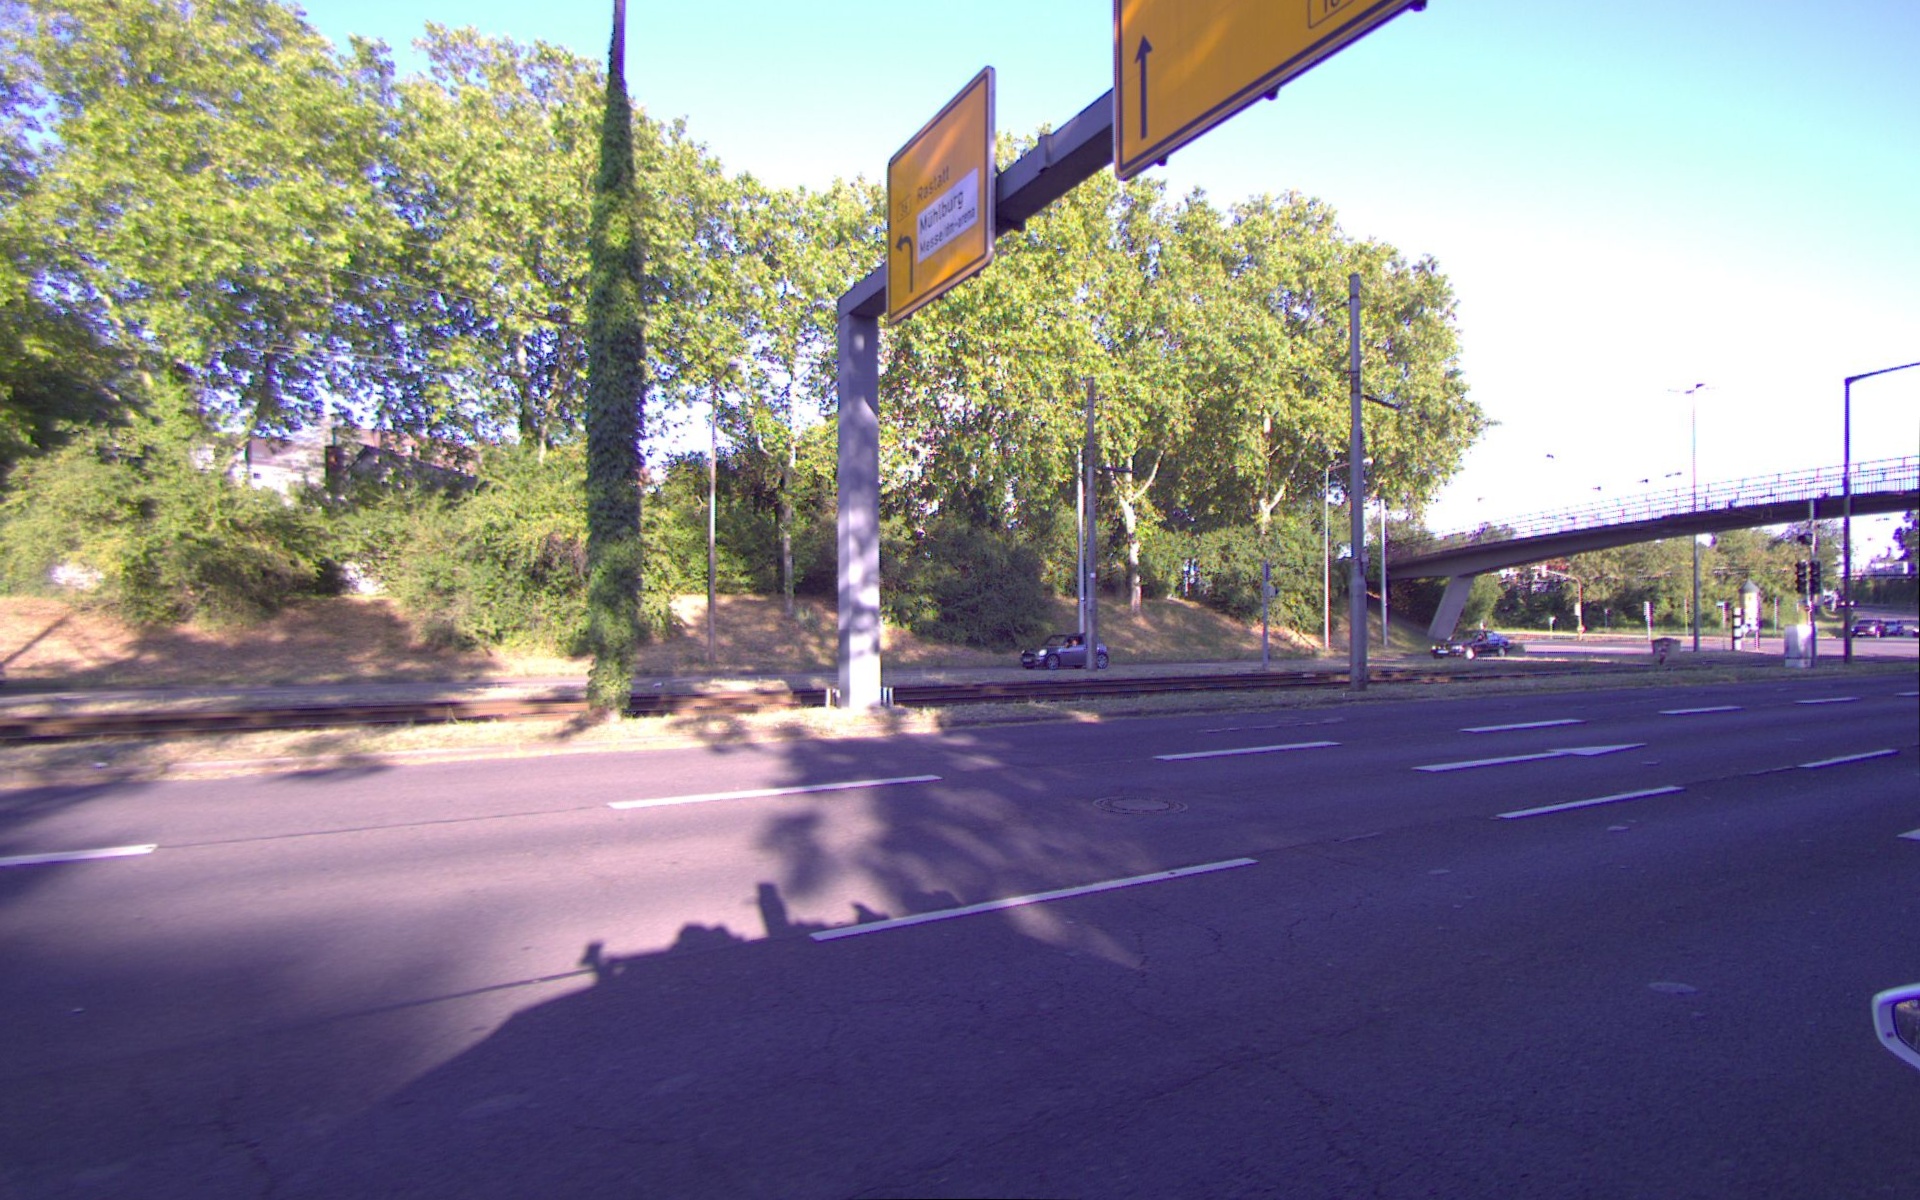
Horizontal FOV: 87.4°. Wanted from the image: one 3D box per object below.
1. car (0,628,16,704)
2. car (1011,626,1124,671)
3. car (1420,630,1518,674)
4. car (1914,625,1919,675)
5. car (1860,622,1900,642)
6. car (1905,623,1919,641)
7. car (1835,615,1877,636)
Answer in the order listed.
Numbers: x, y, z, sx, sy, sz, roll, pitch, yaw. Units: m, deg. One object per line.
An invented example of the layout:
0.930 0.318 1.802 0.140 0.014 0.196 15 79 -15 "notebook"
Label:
-23.362 1.446 21.557 4.143 1.703 1.984 1 -3 -31 "car"
4.292 1.903 39.851 4.145 1.703 1.983 1 -3 -33 "car"
24.719 2.513 48.789 4.452 2.040 1.914 0 -3 -26 "car"
32.422 1.556 32.229 3.955 1.586 1.654 1 -3 -32 "car"
87.456 3.049 95.462 3.957 1.795 1.867 1 0 -33 "car"
85.619 2.823 89.108 3.635 1.596 1.867 1 0 -33 "car"
81.442 2.306 91.294 3.957 1.795 1.867 1 0 -33 "car"
